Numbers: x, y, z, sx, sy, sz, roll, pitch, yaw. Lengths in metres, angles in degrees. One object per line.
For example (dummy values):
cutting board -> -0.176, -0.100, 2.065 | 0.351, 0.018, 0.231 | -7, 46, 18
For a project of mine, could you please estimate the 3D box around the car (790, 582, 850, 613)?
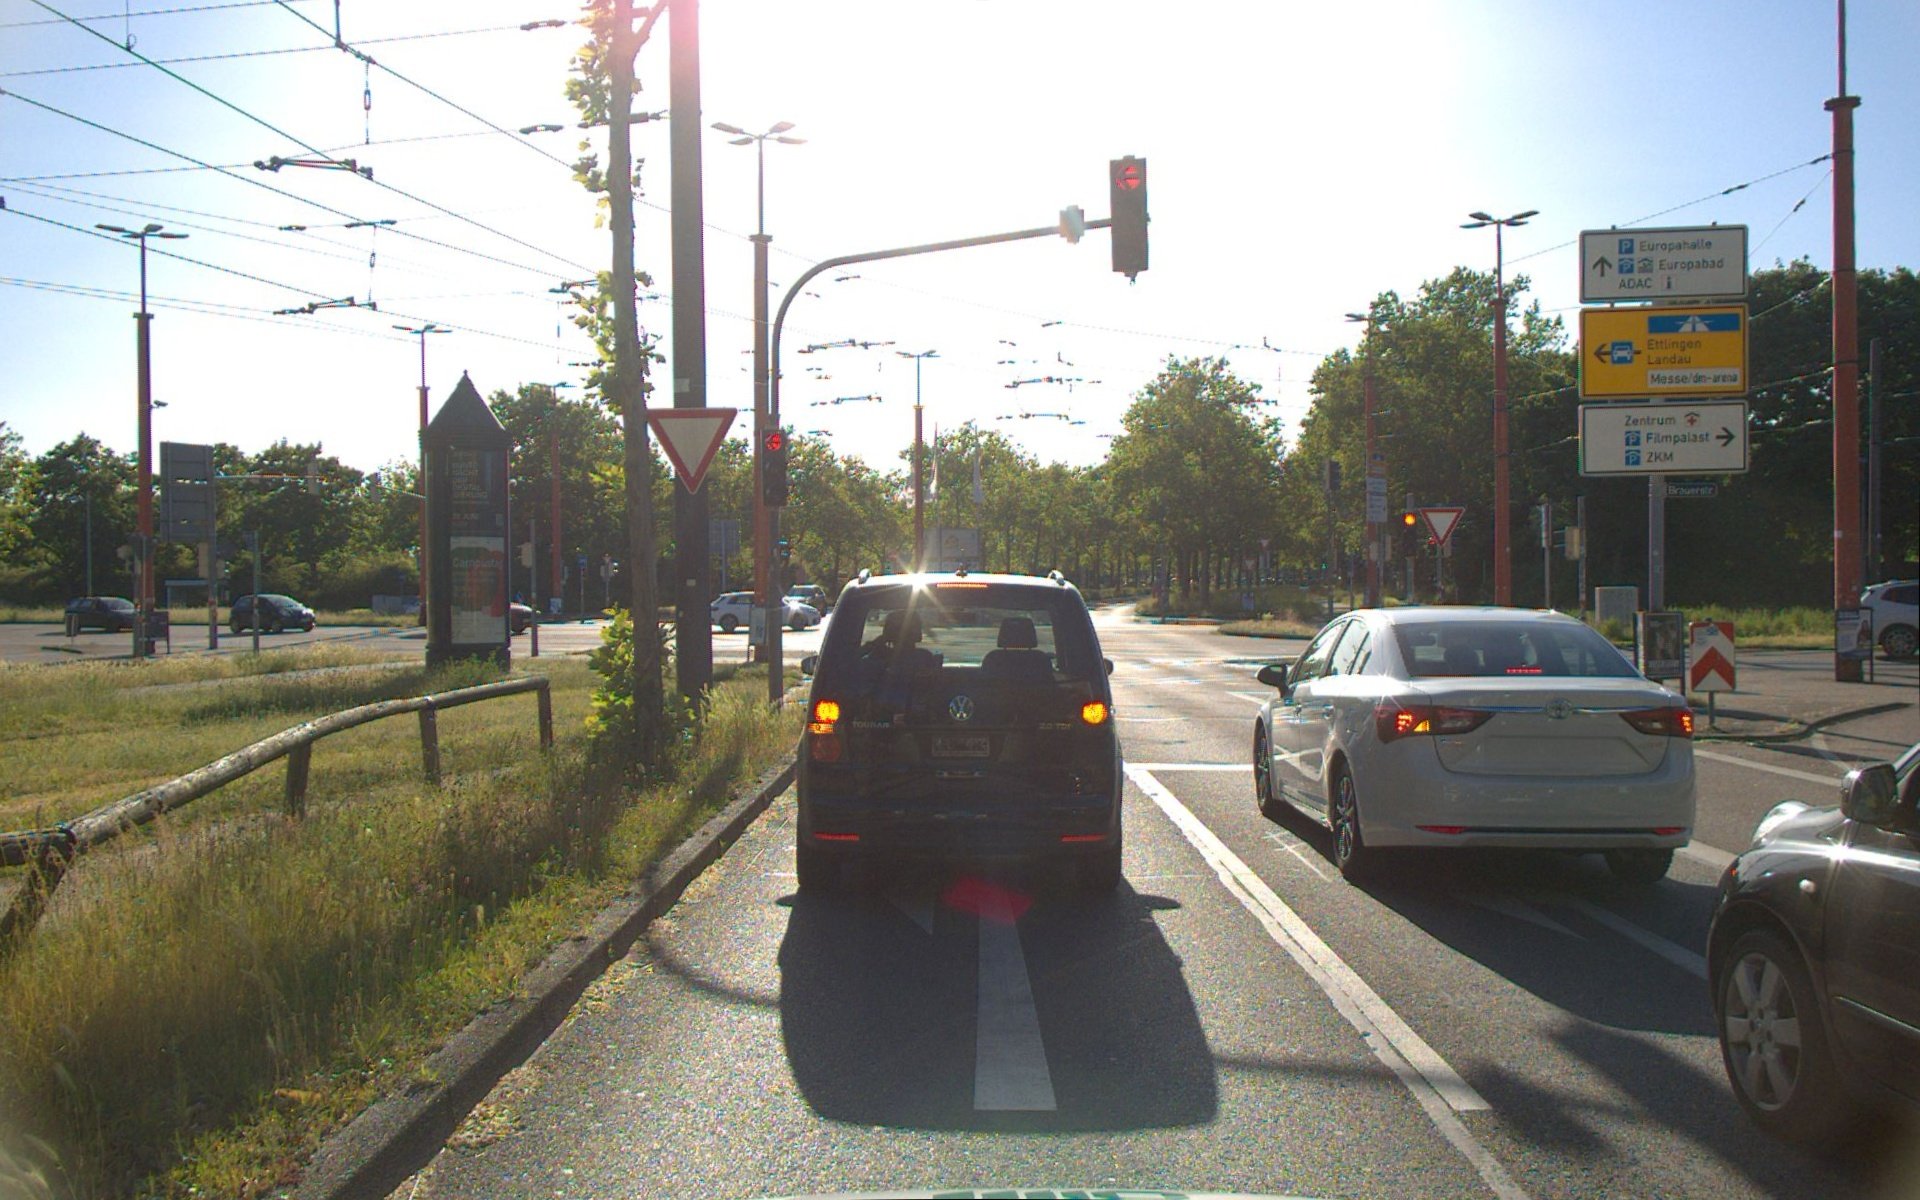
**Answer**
car -> -7.868, -0.165, 93.452 | 1.951, 1.714, 4.832 | 0, 0, 14

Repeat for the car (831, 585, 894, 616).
car -> -5.365, 0.022, 91.480 | 1.951, 1.714, 4.831 | 0, 0, 17

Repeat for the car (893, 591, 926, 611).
car -> -4.454, 0.097, 147.578 | 1.951, 1.714, 4.833 | 0, 0, 11

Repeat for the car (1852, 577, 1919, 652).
car -> 22.342, 0.311, 36.490 | 4.690, 1.626, 1.911 | 0, 0, 29

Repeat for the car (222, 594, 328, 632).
car -> -27.809, 0.498, 67.158 | 3.965, 1.489, 1.912 | 0, 0, 28

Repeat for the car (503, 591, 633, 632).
car -> -14.436, 0.420, 61.060 | 4.267, 1.489, 1.916 | 0, 0, 7

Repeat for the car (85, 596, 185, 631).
car -> -35.997, 0.567, 72.167 | 4.146, 1.489, 1.911 | 0, 0, 29

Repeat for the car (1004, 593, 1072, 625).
car -> 3.775, 0.418, 79.360 | 1.869, 1.489, 4.221 | 0, 0, 23

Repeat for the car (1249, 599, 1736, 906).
car -> 2.950, 0.740, 10.109 | 1.679, 1.480, 4.144 | 0, 0, 0

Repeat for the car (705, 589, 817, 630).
car -> -7.461, 0.348, 62.220 | 4.129, 1.489, 1.911 | 0, 0, -7

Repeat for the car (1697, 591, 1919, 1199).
car -> 3.129, 0.742, 3.509 | 1.525, 1.532, 3.515 | 0, 0, -1

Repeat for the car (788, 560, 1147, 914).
car -> 0.009, 0.643, 9.864 | 1.702, 1.670, 3.999 | 0, 0, -1
